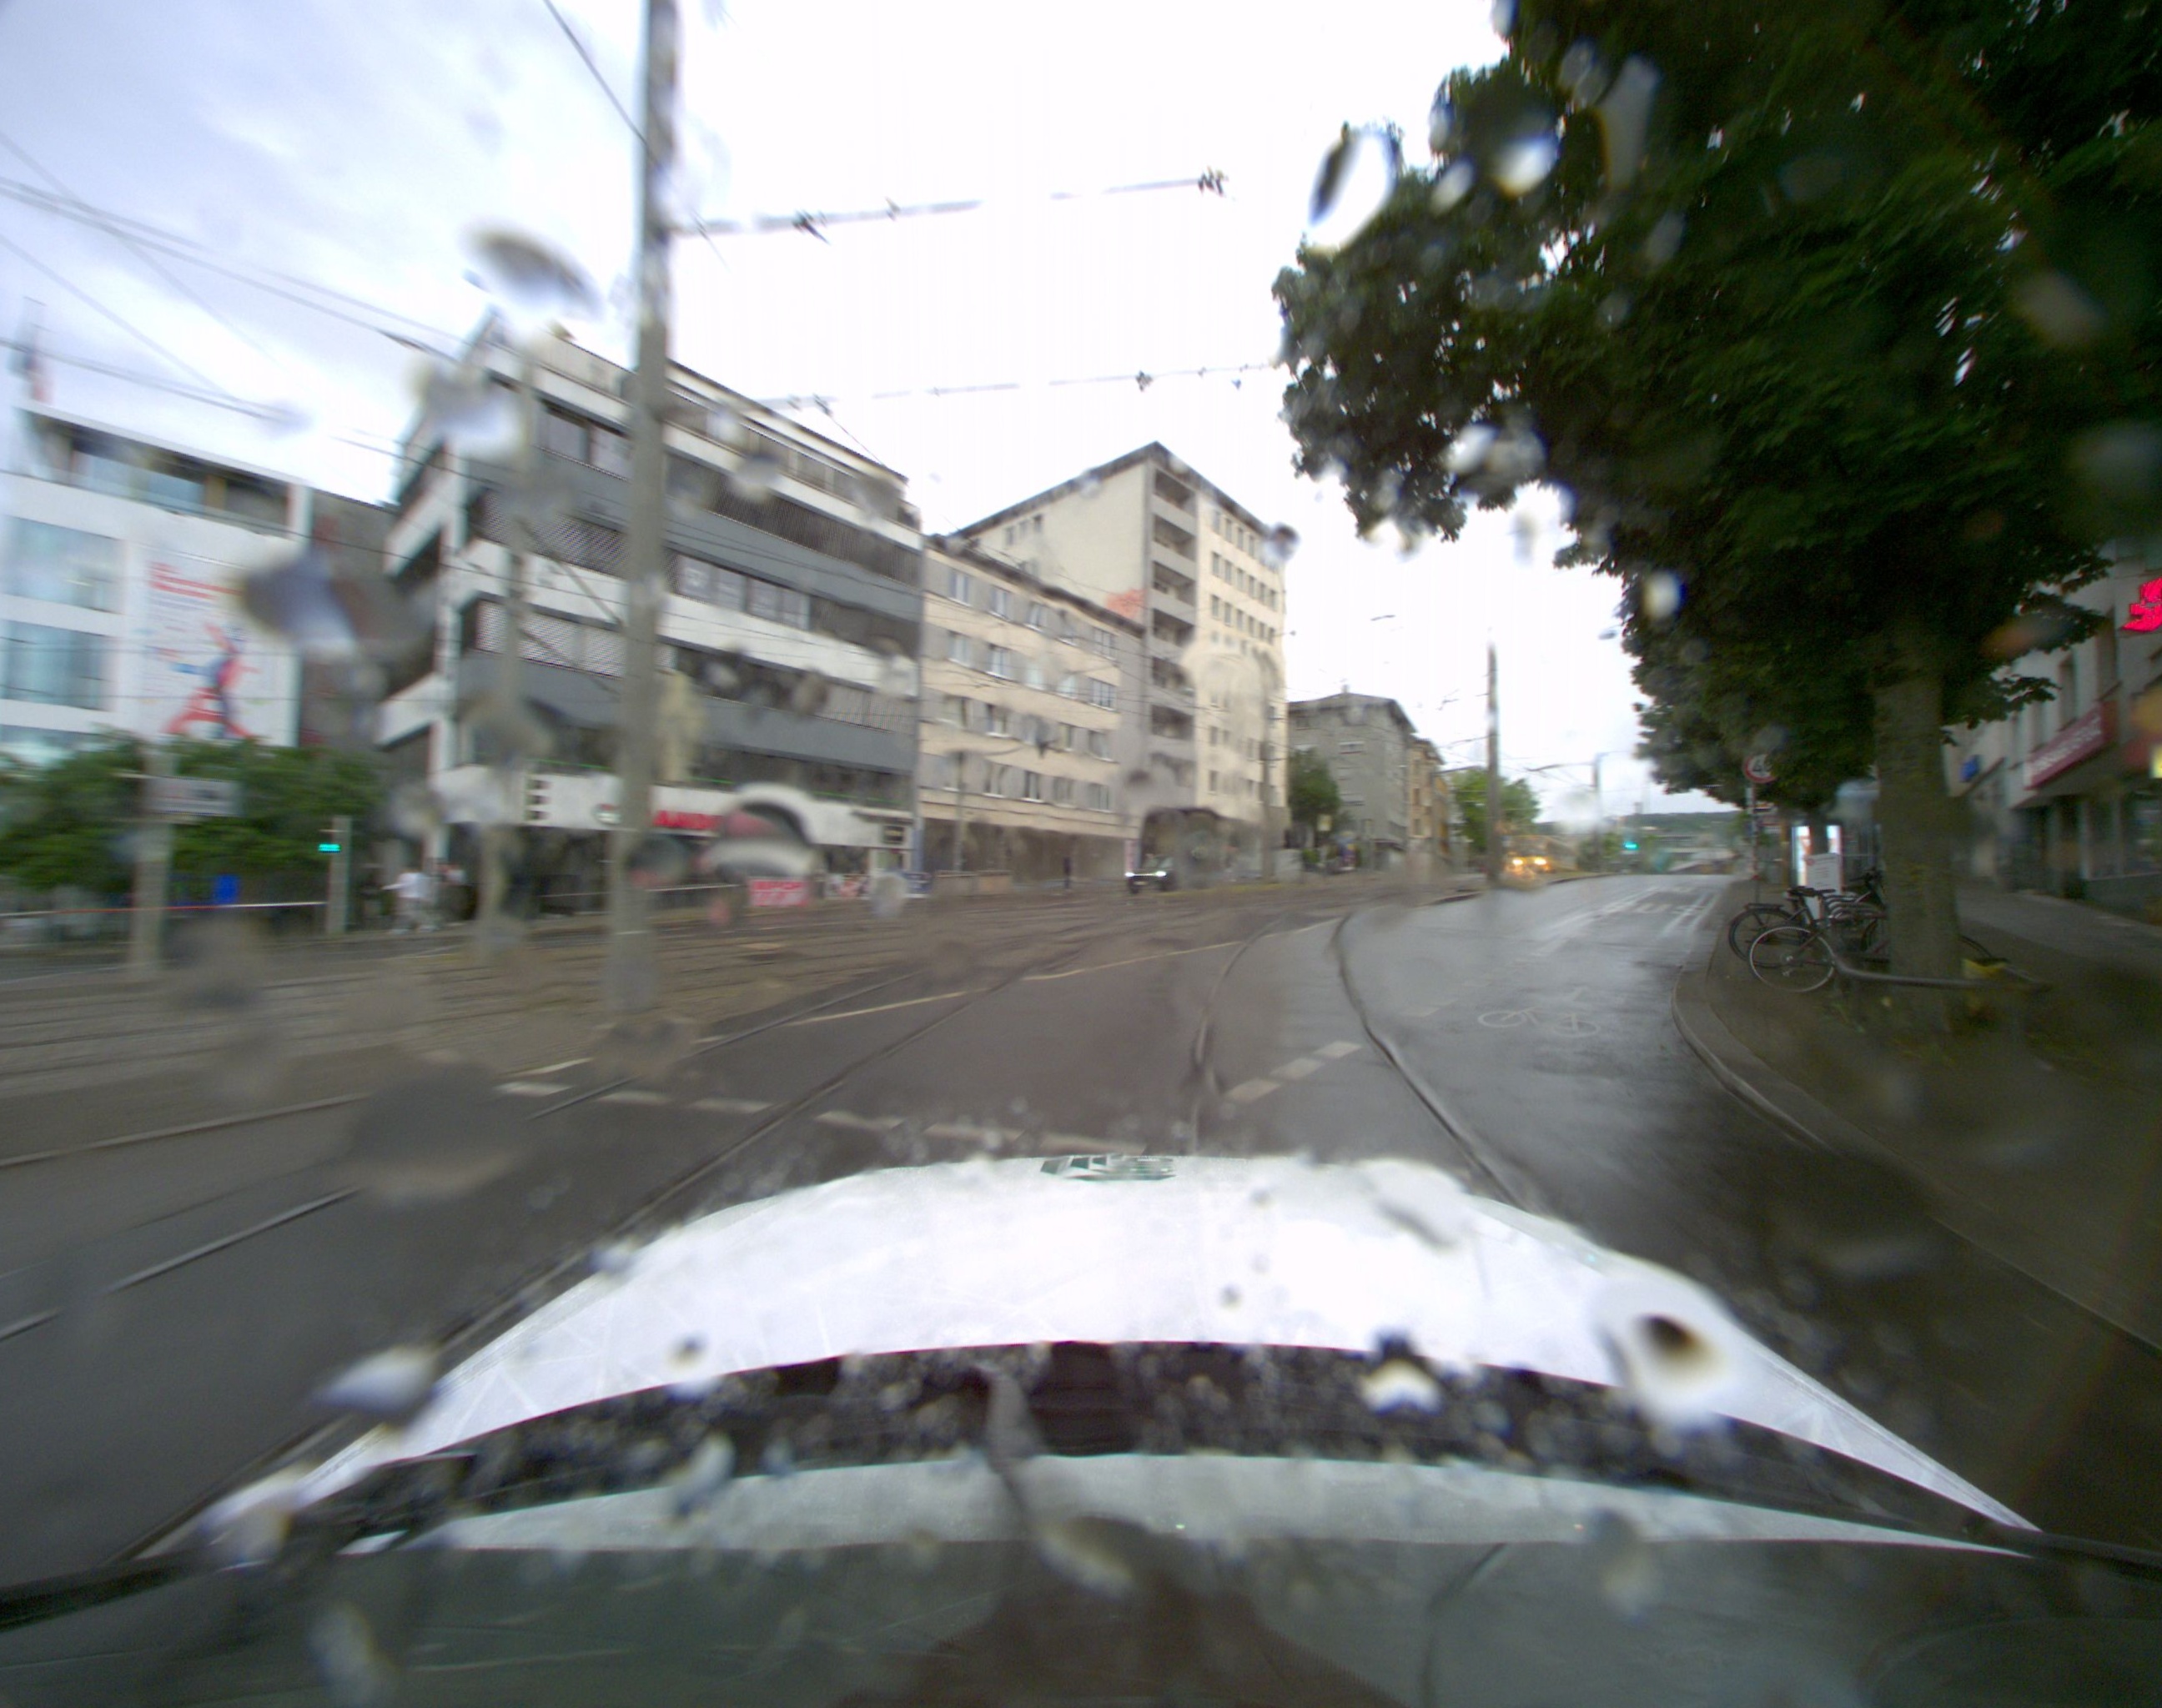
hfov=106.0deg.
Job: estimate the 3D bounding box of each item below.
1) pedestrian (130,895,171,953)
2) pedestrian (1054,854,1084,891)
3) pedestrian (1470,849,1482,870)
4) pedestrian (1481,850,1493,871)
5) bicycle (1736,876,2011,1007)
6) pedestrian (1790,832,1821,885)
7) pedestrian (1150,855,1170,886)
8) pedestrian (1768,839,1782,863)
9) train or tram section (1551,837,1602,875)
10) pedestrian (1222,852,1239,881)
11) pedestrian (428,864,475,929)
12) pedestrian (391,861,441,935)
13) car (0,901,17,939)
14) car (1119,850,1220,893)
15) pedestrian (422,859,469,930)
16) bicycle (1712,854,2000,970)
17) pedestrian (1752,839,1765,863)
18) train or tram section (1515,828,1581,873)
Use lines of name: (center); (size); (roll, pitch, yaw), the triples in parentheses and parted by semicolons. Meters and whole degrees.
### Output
pedestrian: (-25.725, 1.931, 22.524); (0.544, 1.563, 0.517); (1, -2, -26)
pedestrian: (-0.559, 0.830, 37.311); (0.879, 1.681, 1.005); (-2, -2, 42)
pedestrian: (34.121, 0.516, 70.392); (0.725, 1.791, 0.701); (-2, -1, 38)
pedestrian: (34.911, 0.547, 69.990); (0.725, 1.791, 0.701); (-2, -1, 38)
bicycle: (7.477, 0.774, 7.798); (1.799, 1.092, 0.653); (-2, 0, 44)
pedestrian: (22.491, 0.145, 25.296); (0.658, 1.626, 0.974); (-1, -1, 39)
pedestrian: (4.419, 0.923, 45.518); (0.672, 1.681, 1.005); (-2, -1, 38)
pedestrian: (53.149, -0.232, 62.348); (0.693, 1.785, 1.073); (-1, -1, 37)
train or tram section: (56.096, 0.411, 91.825); (2.719, 3.697, 19.088); (-1, -2, 38)
pedestrian: (8.956, 0.735, 48.868); (0.591, 1.738, 0.915); (-2, -1, 38)
pedestrian: (-17.493, 1.178, 22.635); (0.715, 1.762, 0.697); (0, -2, -1)
pedestrian: (-17.513, 1.154, 21.464); (0.716, 1.914, 0.696); (0, -2, -8)
car: (-56.651, 3.377, 41.642); (2.054, 1.840, 4.337); (4, -3, -44)
car: (3.770, 0.707, 34.024); (1.974, 1.673, 4.555); (-2, -1, 40)
pedestrian: (-17.326, 1.095, 22.216); (0.716, 1.914, 0.696); (0, -2, -8)
bicycle: (8.690, 0.622, 9.286); (2.294, 1.174, 0.653); (-2, -3, 44)
pedestrian: (52.342, -0.215, 62.906); (0.693, 1.815, 0.983); (-1, -1, 37)
train or tram section: (44.317, -0.106, 76.801); (2.719, 3.697, 19.088); (-1, -2, 38)
